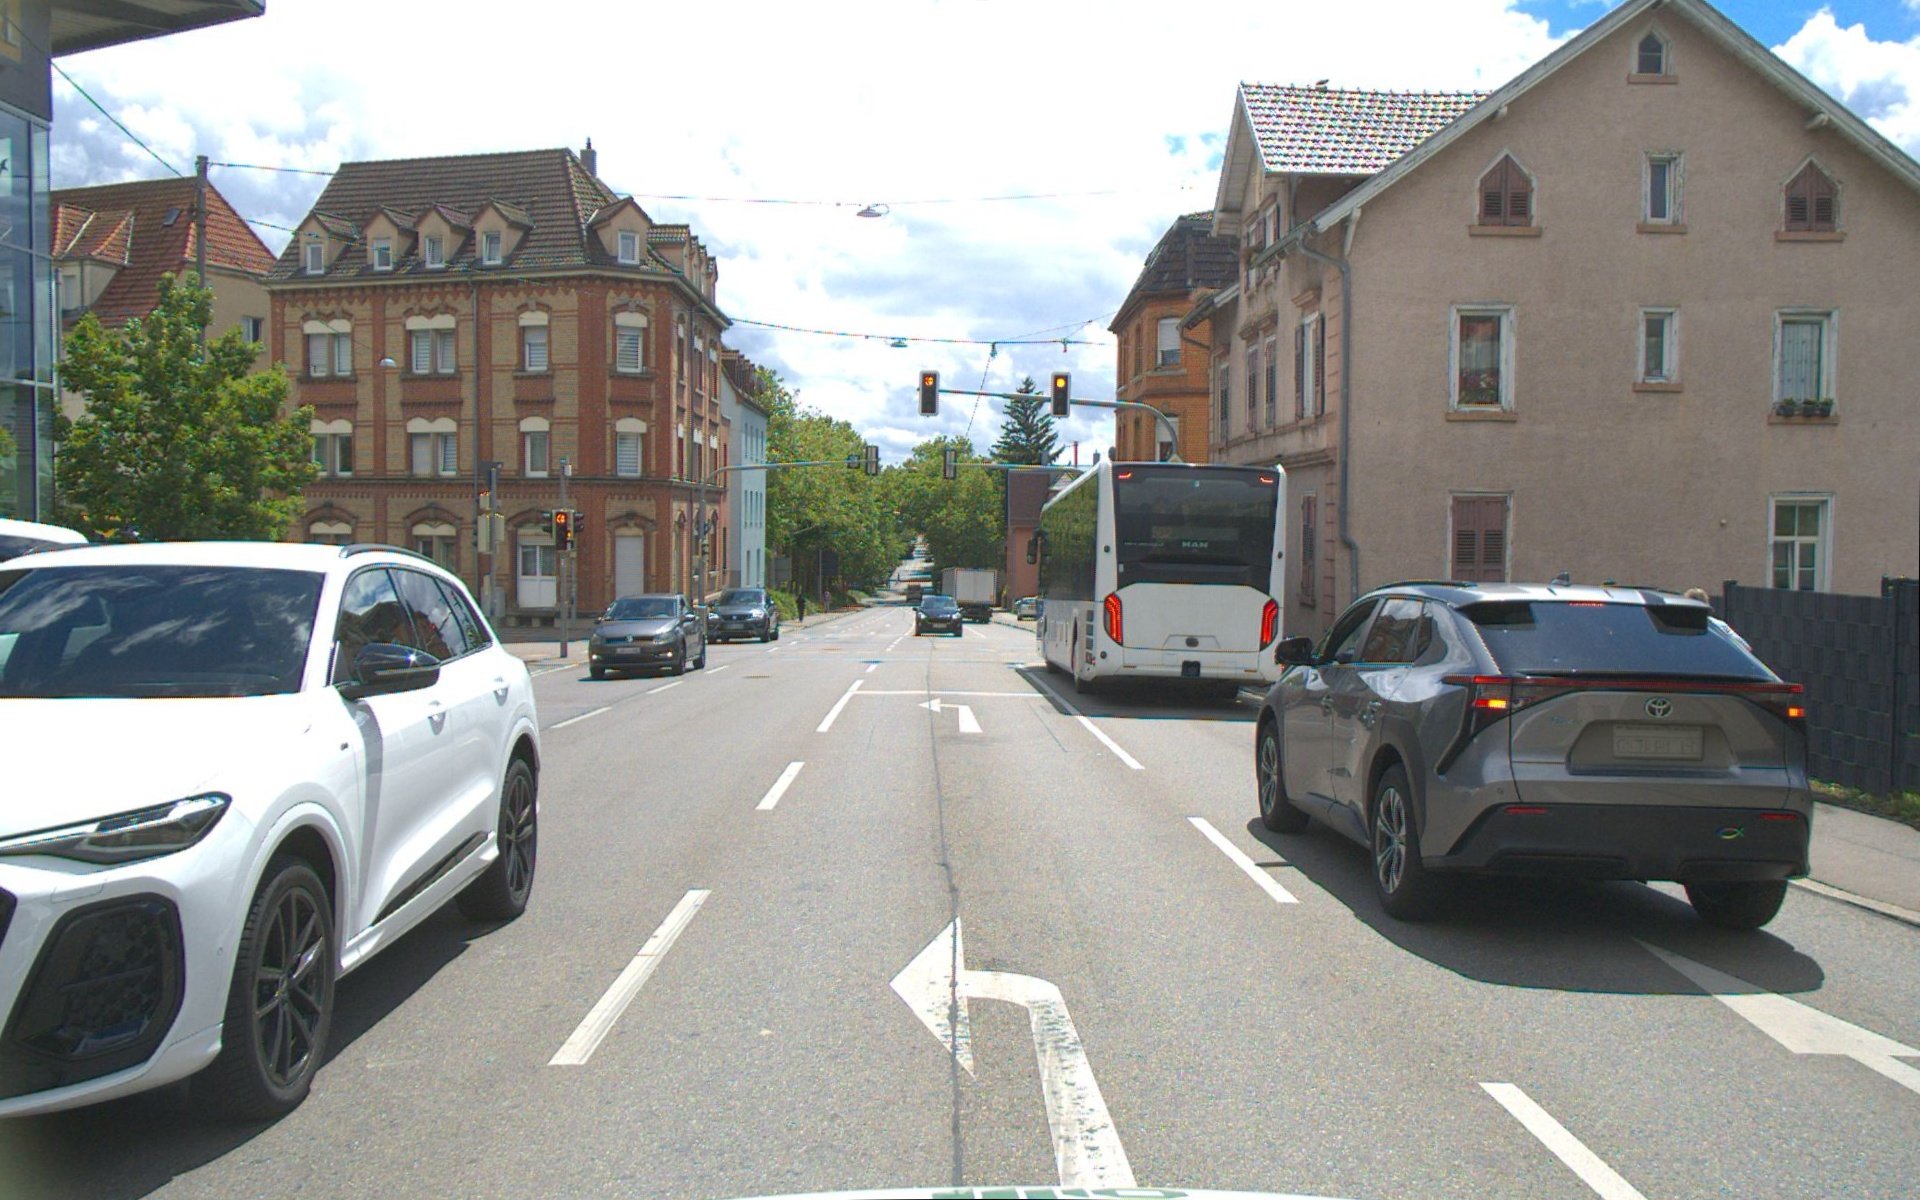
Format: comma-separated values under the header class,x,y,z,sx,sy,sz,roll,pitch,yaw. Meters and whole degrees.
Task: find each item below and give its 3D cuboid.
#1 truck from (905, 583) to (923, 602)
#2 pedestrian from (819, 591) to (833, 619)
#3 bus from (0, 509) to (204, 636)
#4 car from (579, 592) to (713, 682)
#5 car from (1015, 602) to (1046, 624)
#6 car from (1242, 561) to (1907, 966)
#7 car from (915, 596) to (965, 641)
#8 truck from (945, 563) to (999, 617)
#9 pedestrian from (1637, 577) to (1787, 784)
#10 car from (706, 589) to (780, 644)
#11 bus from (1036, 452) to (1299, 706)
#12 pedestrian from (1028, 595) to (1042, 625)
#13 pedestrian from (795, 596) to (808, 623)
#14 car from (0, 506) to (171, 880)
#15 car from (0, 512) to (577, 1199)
class,x,y,z,sx,sy,sz,roll,pitch,yaw
truck,-5.142,-0.795,186.416,1.953,2.049,3.999,1,0,-1
pedestrian,-10.016,0.391,123.970,0.974,2.049,1.188,0,0,-1
bus,-29.532,-0.978,52.504,11.980,3.685,2.770,2,1,24
car,-5.658,0.626,30.194,1.723,1.437,3.733,-2,1,-1
car,4.763,0.878,112.031,1.758,1.434,3.999,-1,1,-2
car,2.970,0.663,9.247,1.880,1.641,4.683,2,1,-1
car,-0.728,0.649,60.049,1.723,1.543,3.793,-1,1,-1
truck,0.668,-0.588,101.272,2.868,3.135,7.881,-1,0,-3
pedestrian,5.956,0.624,13.140,0.841,1.589,0.712,-1,0,-1
car,-6.414,0.459,49.328,1.723,1.548,3.957,-1,1,-1
bus,2.951,-0.354,27.406,2.618,3.210,12.460,-1,1,-1
pedestrian,4.444,0.593,98.114,0.723,1.781,0.619,-1,0,-1
pedestrian,-9.383,0.568,97.778,0.714,1.592,0.560,0,0,-2
car,-5.802,0.511,7.600,1.881,1.892,5.198,-2,1,-1
car,-2.790,0.599,5.881,1.880,1.641,4.415,0,1,-1
